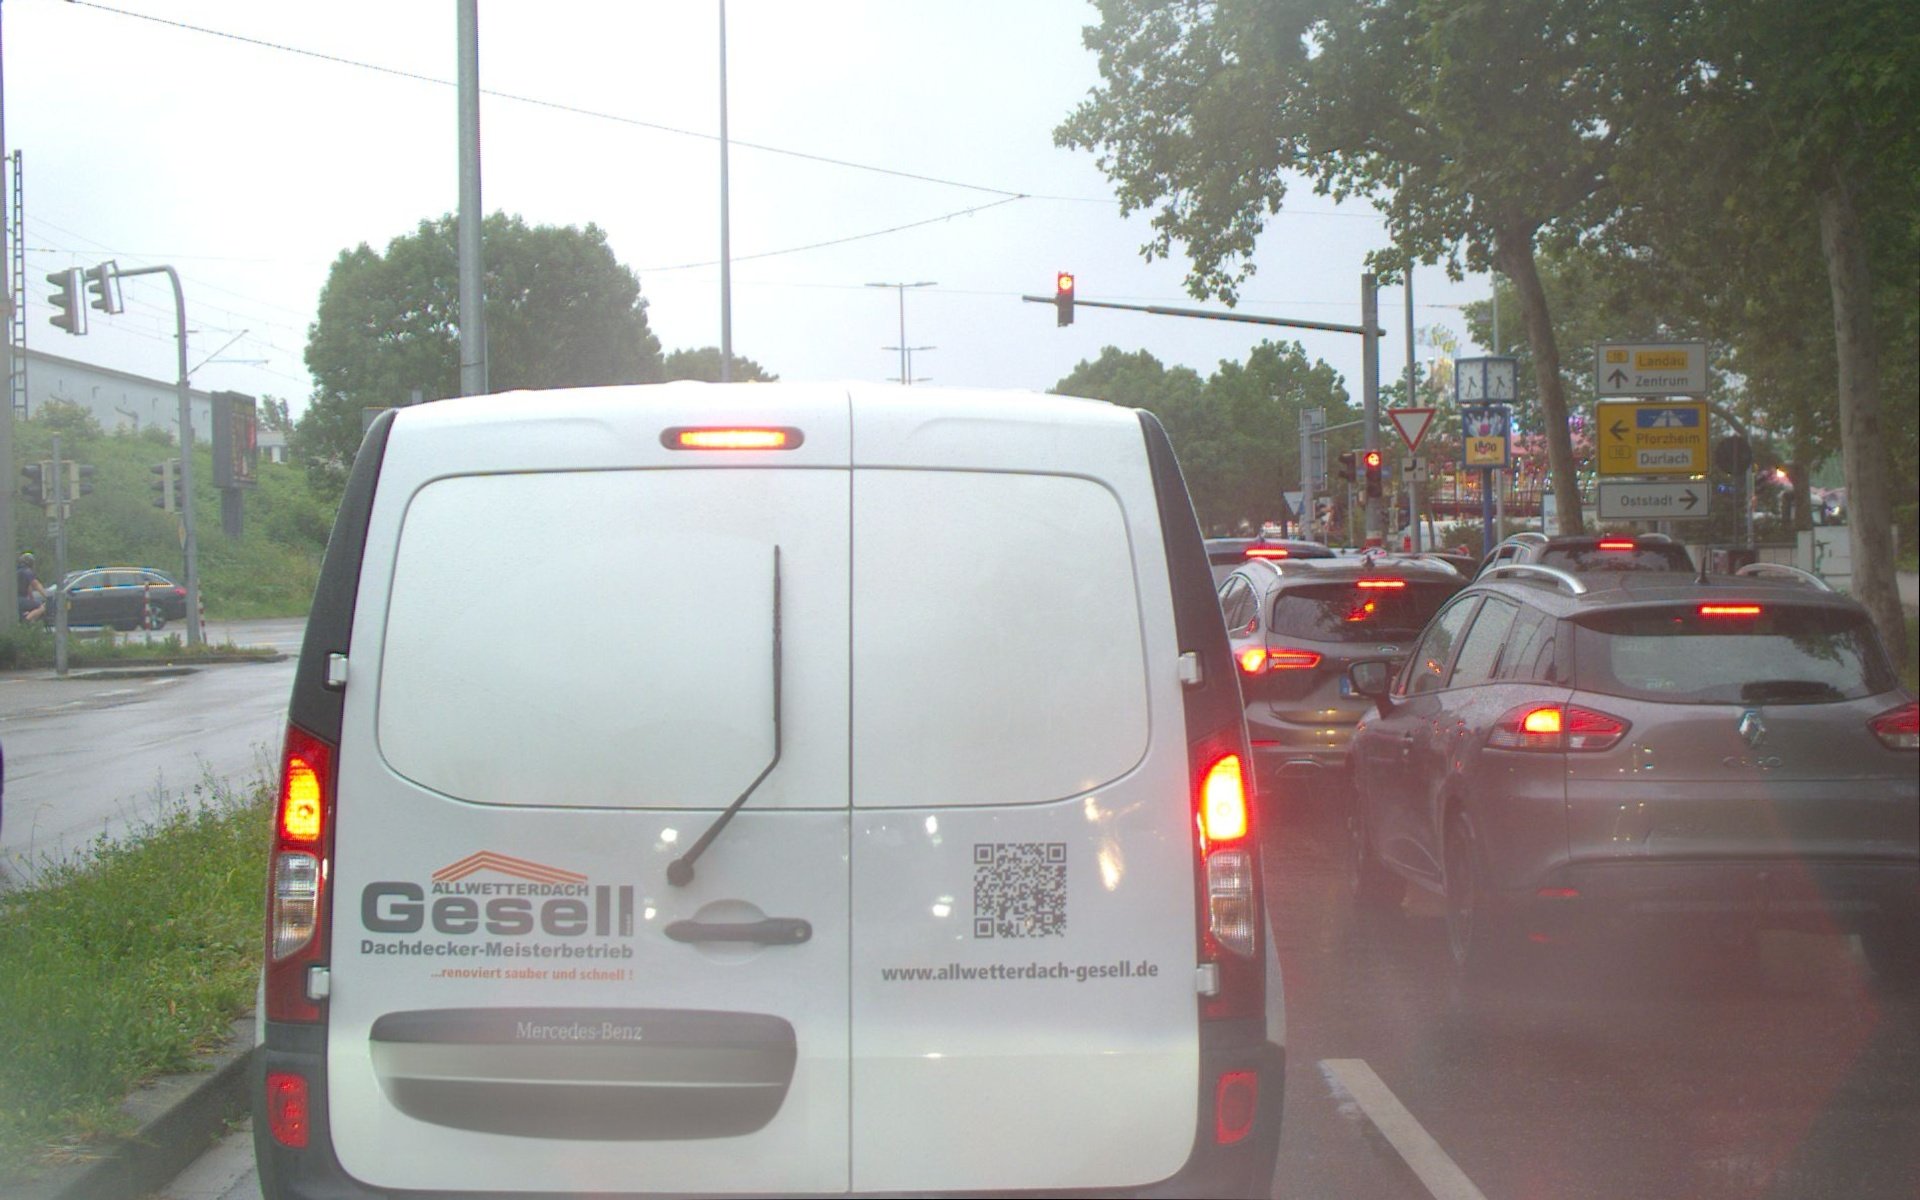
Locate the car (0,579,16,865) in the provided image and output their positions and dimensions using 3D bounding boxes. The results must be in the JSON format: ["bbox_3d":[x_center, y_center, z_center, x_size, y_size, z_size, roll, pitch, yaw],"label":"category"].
[{"bbox_3d":[-5.942,0.698,16.426,1.734,1.514,4.048,-3,0,-1],"label":"car"}]

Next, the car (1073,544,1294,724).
[{"bbox_3d":[2.118,0.295,33.539,1.854,1.644,3.843,0,1,-1],"label":"car"}]

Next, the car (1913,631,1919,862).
[{"bbox_3d":[5.531,0.512,14.409,1.876,1.607,4.000,1,1,-1],"label":"car"}]

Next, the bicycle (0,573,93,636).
[{"bbox_3d":[-14.825,0.059,55.585,1.040,0.949,2.889,-2,2,-25],"label":"bicycle"}]

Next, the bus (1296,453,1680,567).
[{"bbox_3d":[16.972,-2.917,110.889,11.970,3.411,2.315,-1,1,0],"label":"bus"}]

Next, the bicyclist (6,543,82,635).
[{"bbox_3d":[-14.797,-0.187,55.529,1.040,1.445,0.729,-2,2,-25],"label":"bicyclist"}]

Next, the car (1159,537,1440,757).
[{"bbox_3d":[2.675,0.322,27.876,1.854,1.644,3.843,0,1,-1],"label":"car"}]

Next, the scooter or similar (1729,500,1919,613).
[{"bbox_3d":[19.995,-0.984,77.075,1.890,2.437,5.316,-1,1,-41],"label":"scooter or similar"}]

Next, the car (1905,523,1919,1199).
[{"bbox_3d":[2.977,0.646,5.424,1.747,1.549,4.091,0,1,-1],"label":"car"}]

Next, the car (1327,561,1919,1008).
[{"bbox_3d":[2.499,0.583,13.119,1.683,1.403,3.843,1,1,-1],"label":"car"}]

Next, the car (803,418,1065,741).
[{"bbox_3d":[-0.206,-0.185,26.373,1.854,2.288,3.843,0,1,-1],"label":"car"}]

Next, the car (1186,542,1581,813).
[{"bbox_3d":[2.434,0.389,20.648,1.854,1.455,3.843,0,1,-1],"label":"car"}]

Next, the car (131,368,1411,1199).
[{"bbox_3d":[-0.316,0.478,7.667,1.993,1.770,4.585,0,1,-1],"label":"car"}]

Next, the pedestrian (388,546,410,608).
[{"bbox_3d":[-15.695,-0.644,96.122,0.543,1.710,0.563,1,0,-4],"label":"pedestrian"}]
